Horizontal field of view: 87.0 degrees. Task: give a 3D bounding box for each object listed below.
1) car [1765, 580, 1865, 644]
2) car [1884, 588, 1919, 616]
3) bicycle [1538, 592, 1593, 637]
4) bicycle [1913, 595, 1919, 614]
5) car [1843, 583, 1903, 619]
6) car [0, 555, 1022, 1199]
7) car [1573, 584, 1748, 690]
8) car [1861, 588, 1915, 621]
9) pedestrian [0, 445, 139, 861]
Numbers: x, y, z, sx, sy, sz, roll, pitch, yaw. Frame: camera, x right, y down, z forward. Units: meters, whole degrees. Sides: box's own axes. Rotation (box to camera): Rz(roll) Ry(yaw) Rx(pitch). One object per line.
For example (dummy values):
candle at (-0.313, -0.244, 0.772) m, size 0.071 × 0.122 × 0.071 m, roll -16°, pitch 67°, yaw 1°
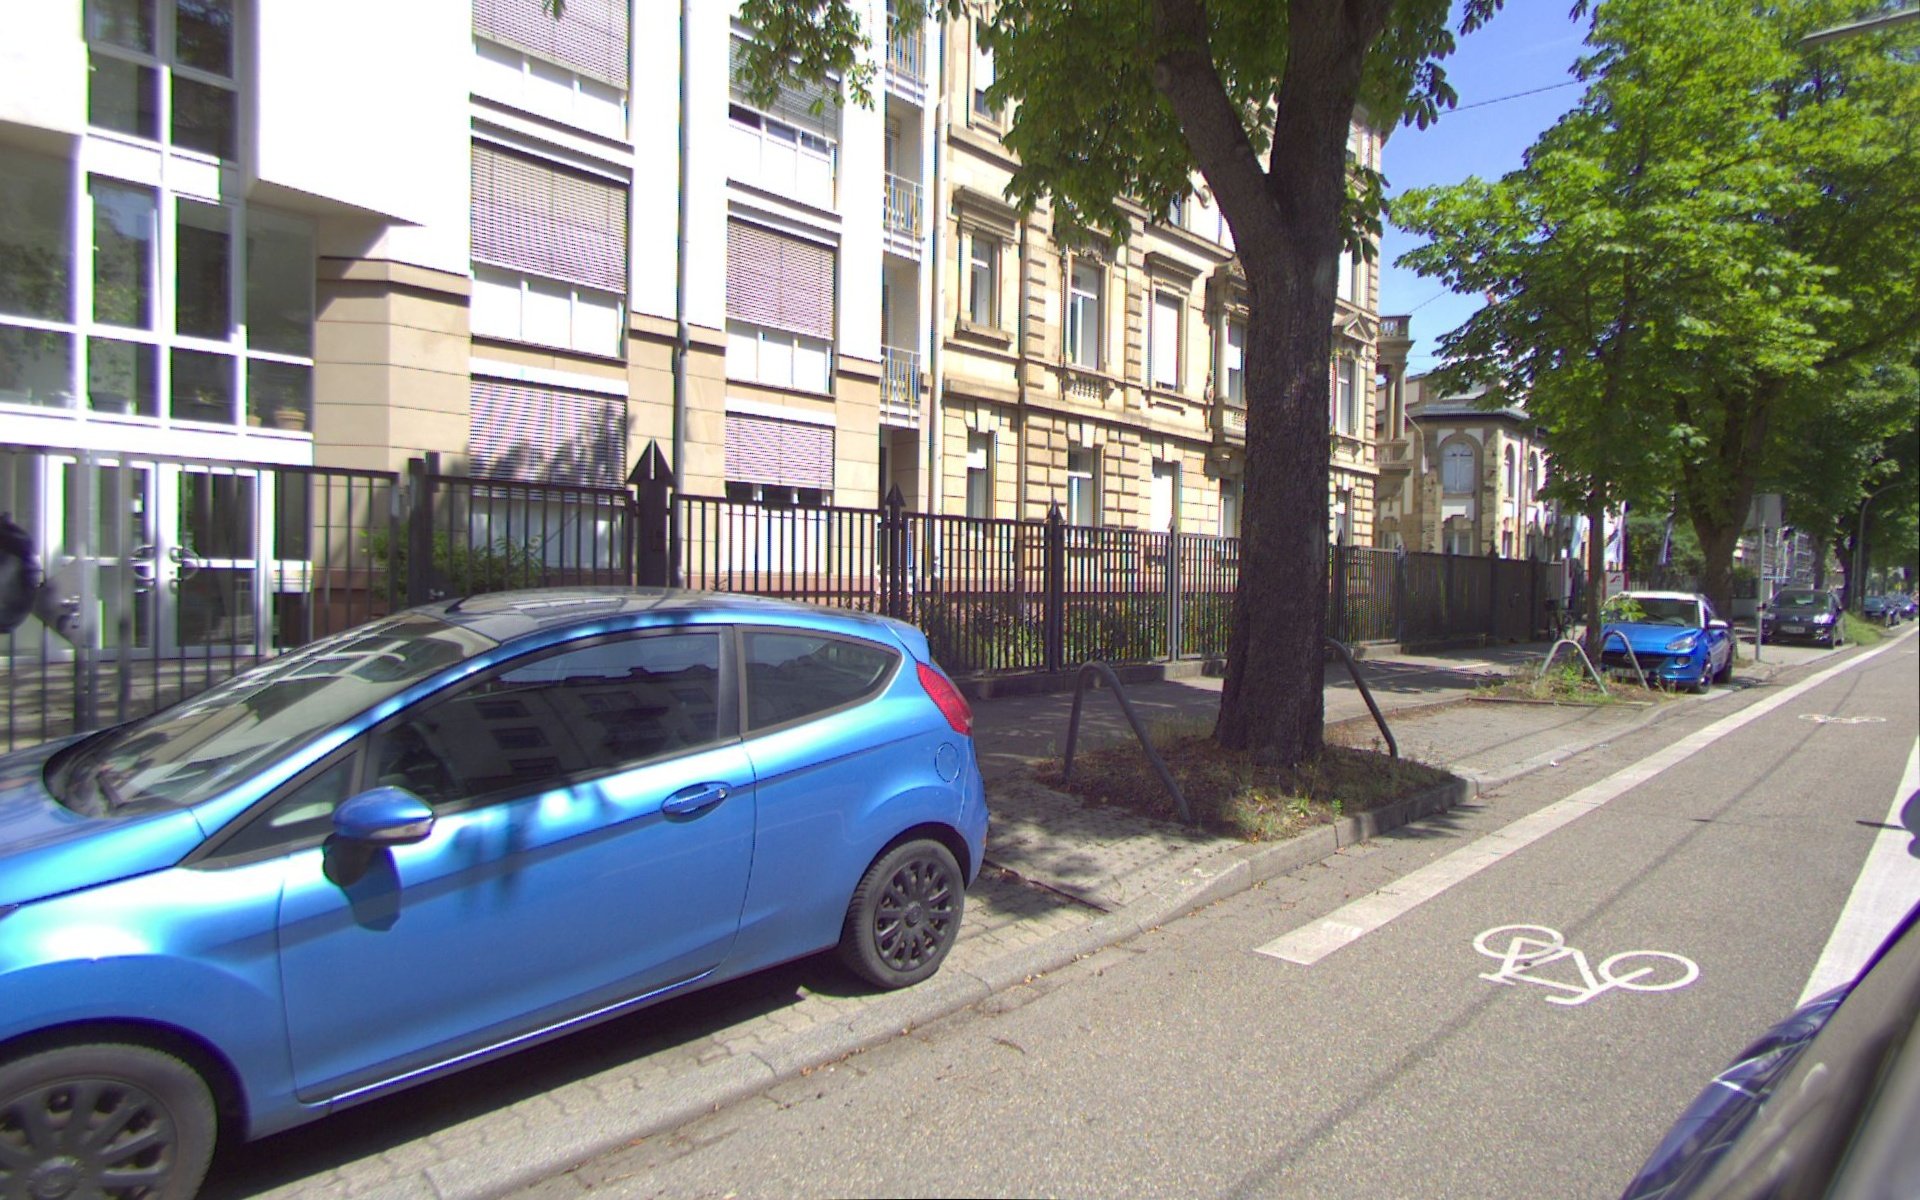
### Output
car at (24.572, 0.305, 29.038) m, size 4.016 × 1.635 × 1.732 m, roll 0°, pitch 4°, yaw -44°
car at (53.486, 0.102, 57.125) m, size 3.934 × 1.420 × 1.624 m, roll 0°, pitch 4°, yaw -44°
bicycle at (15.071, 0.342, 25.164) m, size 1.946 × 1.084 × 0.608 m, roll 0°, pitch 1°, yaw -42°
bicycle at (58.154, 0.306, 60.559) m, size 0.802 × 1.109 × 2.159 m, roll 1°, pitch 1°, yaw 21°
car at (40.027, 0.023, 44.350) m, size 3.760 × 1.420 × 1.624 m, roll 0°, pitch 4°, yaw -44°
car at (-1.653, 0.638, 3.454) m, size 3.660 × 1.461 × 1.679 m, roll 0°, pitch 4°, yaw -45°
car at (11.219, 0.500, 16.130) m, size 3.417 × 1.471 × 1.692 m, roll 0°, pitch 2°, yaw -45°
car at (44.720, 0.181, 48.758) m, size 3.934 × 1.420 × 1.624 m, roll 0°, pitch 4°, yaw -44°
pedestrian at (-4.479, 0.225, 4.631) m, size 1.066 × 1.820 × 0.685 m, roll 0°, pitch 1°, yaw -44°
